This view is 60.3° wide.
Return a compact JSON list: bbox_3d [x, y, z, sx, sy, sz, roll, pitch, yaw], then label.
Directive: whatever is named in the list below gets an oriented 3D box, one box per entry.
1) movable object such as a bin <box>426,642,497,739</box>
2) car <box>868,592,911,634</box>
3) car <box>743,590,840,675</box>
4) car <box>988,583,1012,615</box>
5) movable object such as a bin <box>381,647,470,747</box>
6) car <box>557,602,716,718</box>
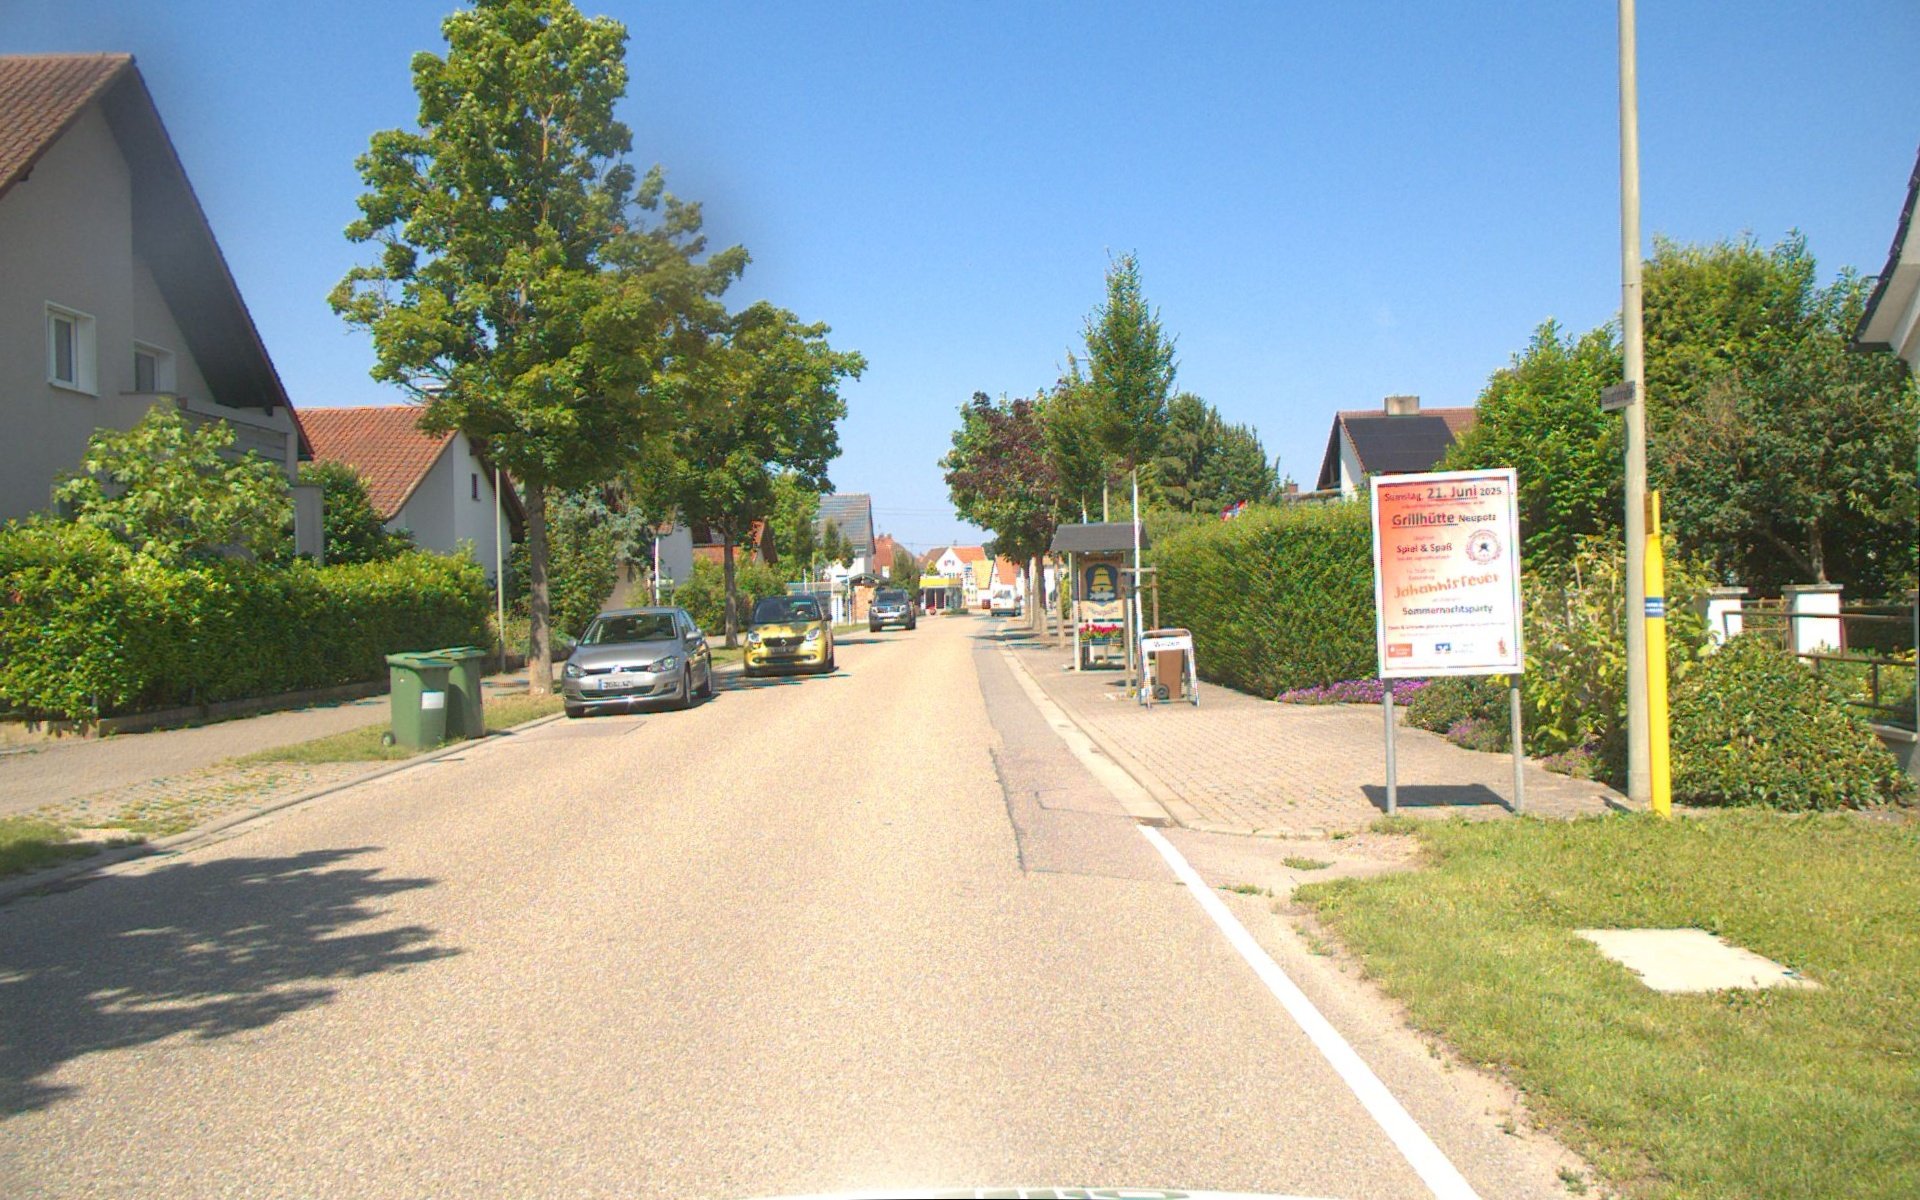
[{"bbox_3d":[-5.925,1.071,19.682,0.562,1.097,0.599,-2,0,12],"label":"movable object such as a bin"},{"bbox_3d":[-3.130,0.552,73.141,1.799,1.783,3.794,-2,0,-2],"label":"car"},{"bbox_3d":[-3.372,0.627,33.554,1.632,1.550,3.441,-3,0,-2],"label":"car"},{"bbox_3d":[3.211,-0.065,133.277,1.701,2.474,4.376,-2,0,3],"label":"car"},{"bbox_3d":[-6.121,1.103,18.946,0.699,1.097,0.639,-2,0,25],"label":"movable object such as a bin"},{"bbox_3d":[-4.676,0.813,24.434,1.614,1.448,4.078,-4,0,-2],"label":"car"}]
